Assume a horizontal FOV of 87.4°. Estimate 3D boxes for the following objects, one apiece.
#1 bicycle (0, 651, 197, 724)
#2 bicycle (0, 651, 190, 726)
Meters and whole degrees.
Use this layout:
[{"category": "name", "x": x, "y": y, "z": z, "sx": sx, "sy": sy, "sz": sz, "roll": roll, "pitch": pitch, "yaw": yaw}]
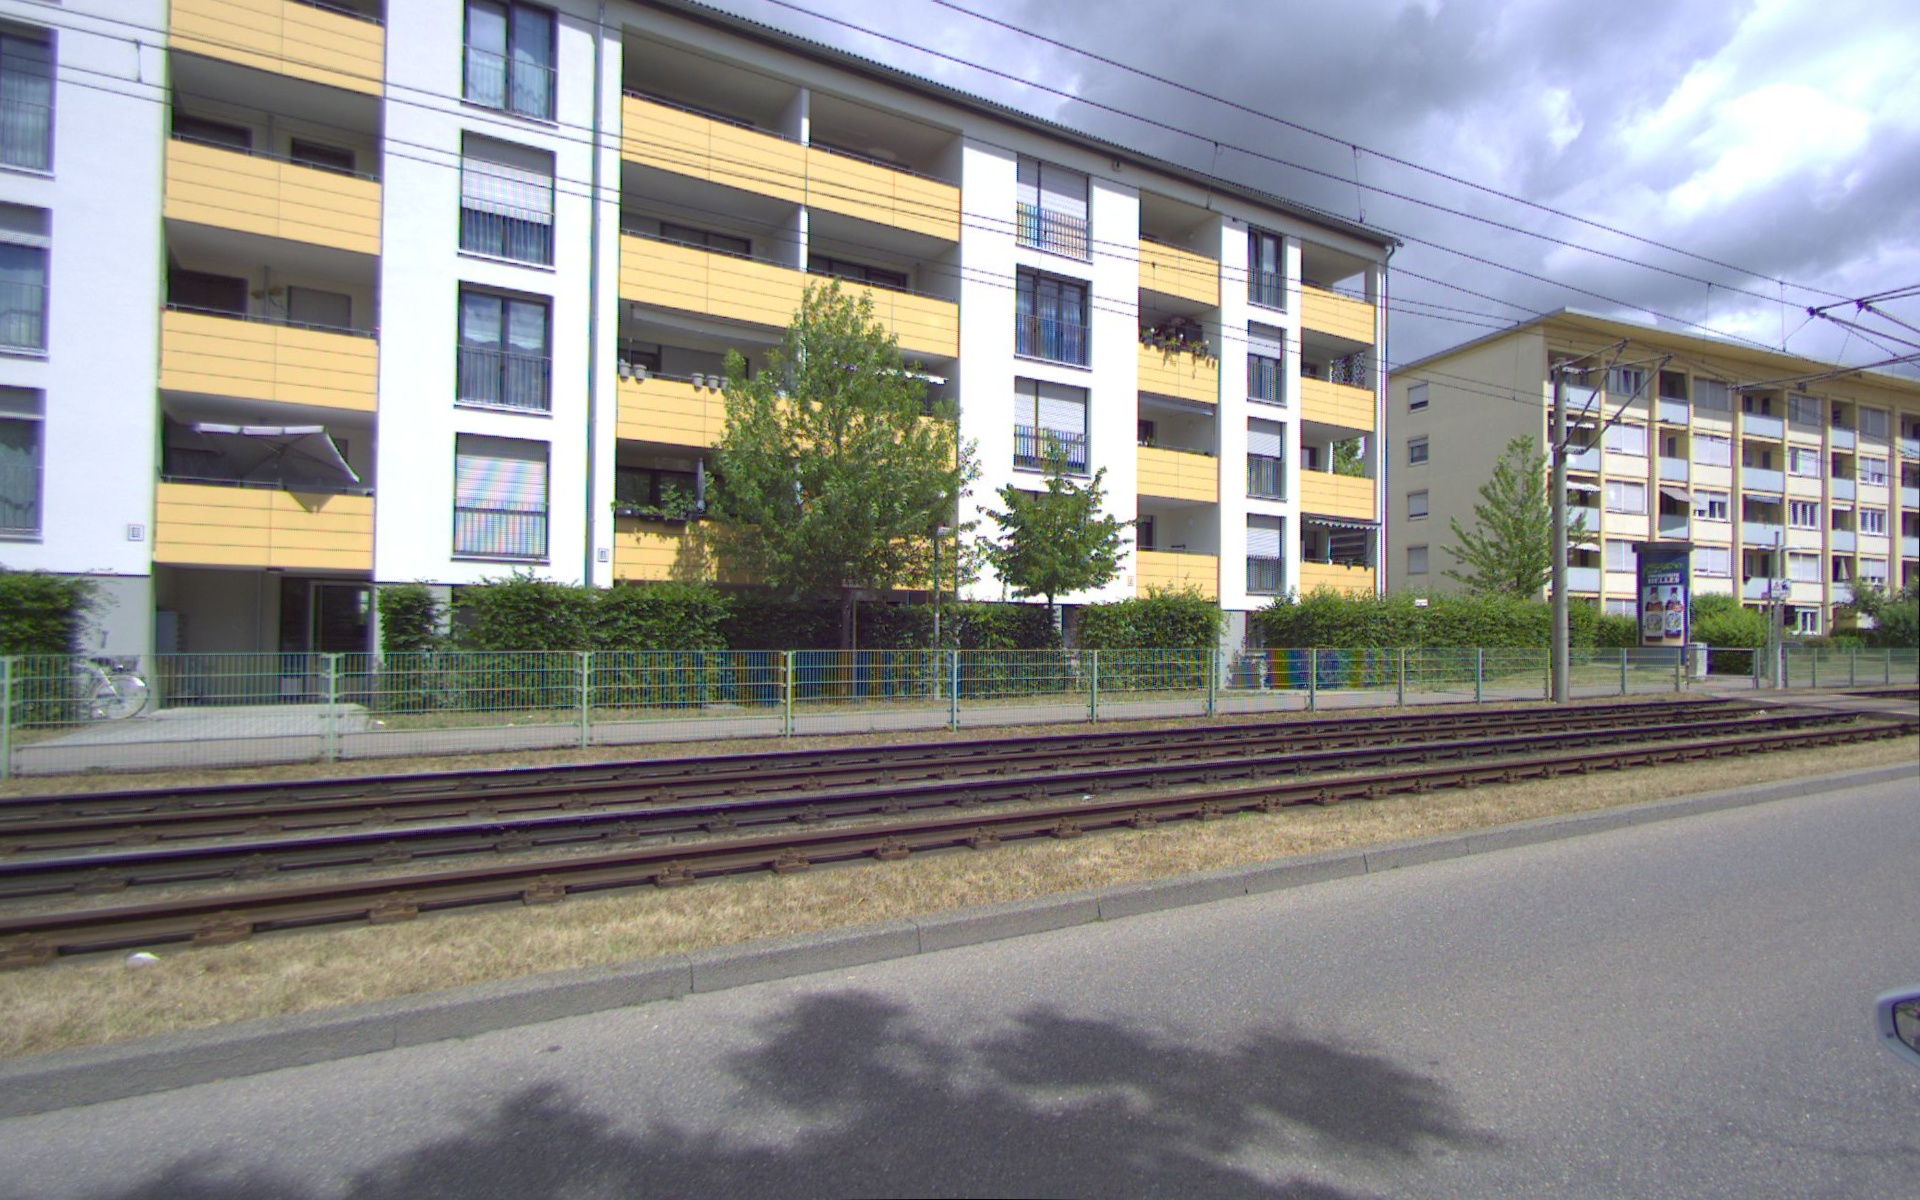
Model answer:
[{"category": "bicycle", "x": -12.823, "y": 1.277, "z": 15.019, "sx": 2.186, "sy": 0.992, "sz": 0.552, "roll": 1, "pitch": -1, "yaw": -30}, {"category": "bicycle", "x": -12.583, "y": 1.257, "z": 14.558, "sx": 2.186, "sy": 0.992, "sz": 0.552, "roll": 1, "pitch": -1, "yaw": -30}]
